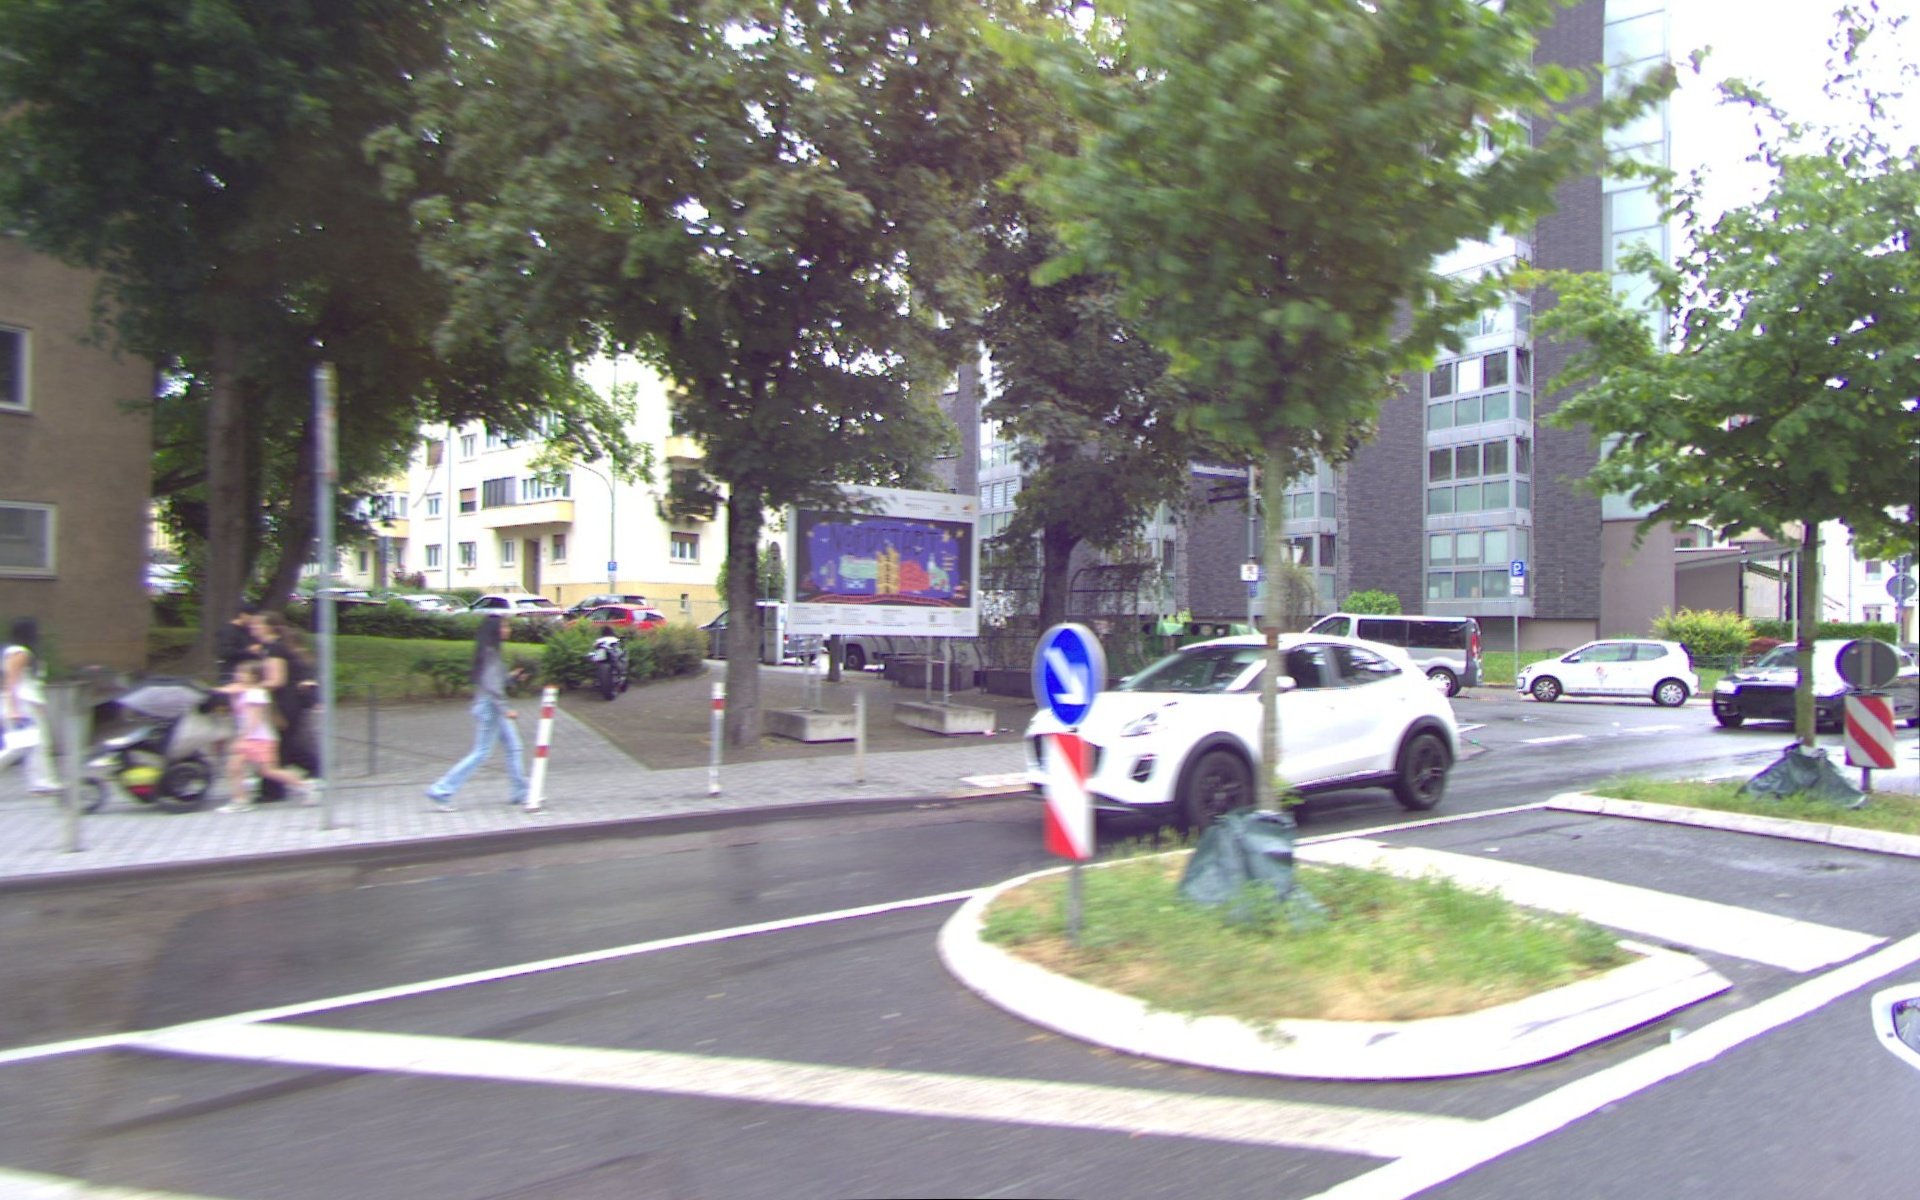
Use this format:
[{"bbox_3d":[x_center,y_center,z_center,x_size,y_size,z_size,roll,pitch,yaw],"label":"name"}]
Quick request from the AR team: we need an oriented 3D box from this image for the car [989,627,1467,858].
[{"bbox_3d":[2.419,1.053,8.802,4.045,1.589,1.810,1,-2,-33],"label":"car"}]

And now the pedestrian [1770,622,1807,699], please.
[{"bbox_3d":[19.780,1.435,23.987,0.576,1.785,0.570,1,-1,-37],"label":"pedestrian"}]

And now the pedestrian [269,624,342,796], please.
[{"bbox_3d":[-5.957,0.976,9.145,0.525,1.493,0.457,1,0,-35],"label":"pedestrian"}]

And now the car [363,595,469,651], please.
[{"bbox_3d":[-21.051,0.874,38.842,3.932,2.040,1.994,0,-1,34],"label":"car"}]

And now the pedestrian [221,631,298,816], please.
[{"bbox_3d":[-5.650,0.971,8.115,0.476,1.429,0.430,1,0,-35],"label":"pedestrian"}]

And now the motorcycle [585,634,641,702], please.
[{"bbox_3d":[-6.084,1.169,17.697,0.783,1.001,2.052,1,2,-16],"label":"motorcycle"}]

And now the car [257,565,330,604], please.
[{"bbox_3d":[-36.951,-0.807,55.661,3.932,2.040,1.994,0,-1,34],"label":"car"}]

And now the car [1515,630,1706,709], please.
[{"bbox_3d":[15.015,1.553,23.420,3.522,1.590,1.739,1,0,26],"label":"car"}]

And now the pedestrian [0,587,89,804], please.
[{"bbox_3d":[-8.026,0.791,8.589,0.646,1.782,0.718,0,-1,36],"label":"pedestrian"}]

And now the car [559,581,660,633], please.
[{"bbox_3d":[-14.527,0.306,41.610,3.932,2.040,1.994,0,-1,34],"label":"car"}]

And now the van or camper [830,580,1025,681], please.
[{"bbox_3d":[-0.866,0.713,26.173,4.536,2.297,2.207,3,1,30],"label":"van or camper"}]

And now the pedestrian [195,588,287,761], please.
[{"bbox_3d":[-8.163,0.809,11.400,0.851,1.869,0.690,0,-1,45],"label":"pedestrian"}]

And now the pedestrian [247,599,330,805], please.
[{"bbox_3d":[-5.777,0.848,8.651,0.547,1.695,0.494,1,0,-35],"label":"pedestrian"}]

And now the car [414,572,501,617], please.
[{"bbox_3d":[-23.893,-0.247,47.698,3.932,2.040,1.994,0,-1,34],"label":"car"}]

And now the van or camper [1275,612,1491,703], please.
[{"bbox_3d":[10.809,1.382,25.788,4.879,2.040,1.996,1,0,30],"label":"van or camper"}]

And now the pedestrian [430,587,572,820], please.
[{"bbox_3d":[-3.891,0.826,8.537,0.711,1.850,0.851,1,0,36],"label":"pedestrian"}]

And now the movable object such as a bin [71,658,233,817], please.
[{"bbox_3d":[-6.553,1.080,8.203,0.956,1.149,0.699,1,0,-35],"label":"movable object such as a bin"}]

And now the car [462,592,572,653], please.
[{"bbox_3d":[-15.771,0.784,35.675,3.938,2.040,1.992,-1,-1,39],"label":"car"}]

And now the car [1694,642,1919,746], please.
[{"bbox_3d":[14.560,1.479,16.911,4.449,1.445,2.003,1,0,-31],"label":"car"}]

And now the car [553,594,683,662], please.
[{"bbox_3d":[-11.310,0.886,33.183,3.930,2.040,1.996,1,0,32],"label":"car"}]

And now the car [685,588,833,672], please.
[{"bbox_3d":[-5.857,0.842,29.242,3.930,2.285,1.996,0,-1,31],"label":"car"}]

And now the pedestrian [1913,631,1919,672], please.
[{"bbox_3d":[40.296,2.150,41.731,0.733,1.708,0.755,0,-1,14],"label":"pedestrian"}]

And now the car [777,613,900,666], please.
[{"bbox_3d":[-4.291,1.350,35.324,3.932,1.751,1.994,0,-1,34],"label":"car"}]
